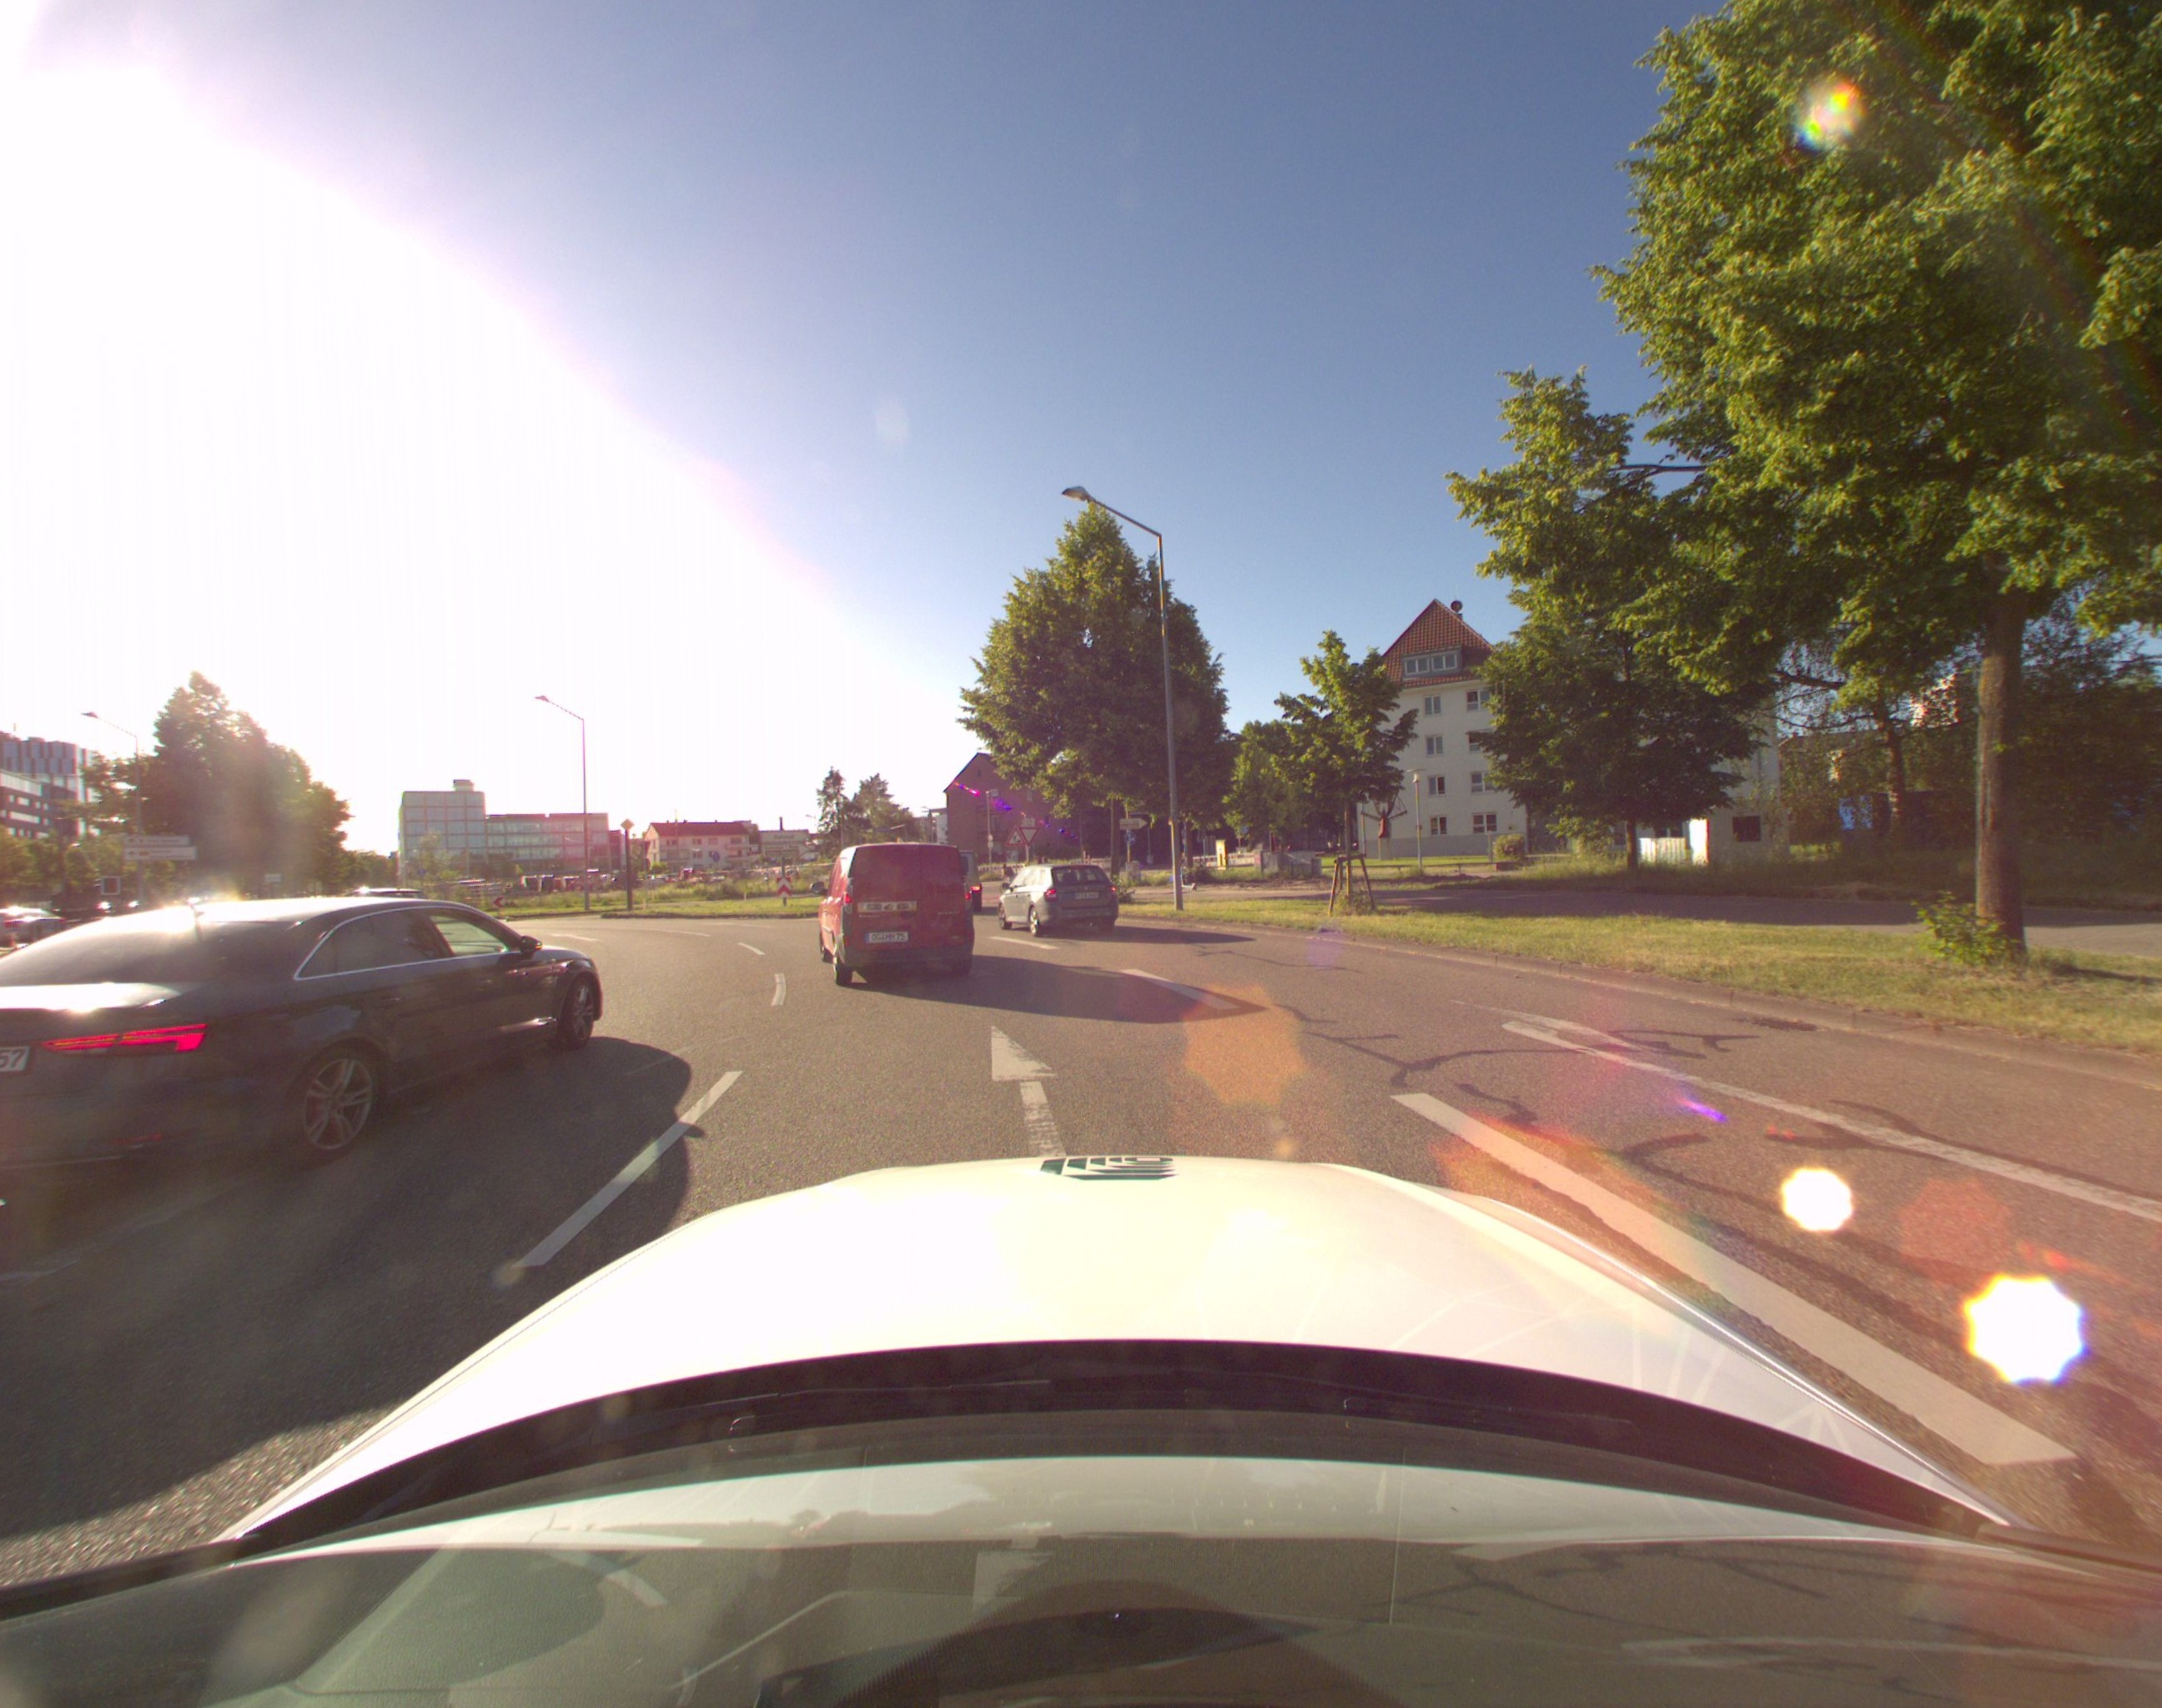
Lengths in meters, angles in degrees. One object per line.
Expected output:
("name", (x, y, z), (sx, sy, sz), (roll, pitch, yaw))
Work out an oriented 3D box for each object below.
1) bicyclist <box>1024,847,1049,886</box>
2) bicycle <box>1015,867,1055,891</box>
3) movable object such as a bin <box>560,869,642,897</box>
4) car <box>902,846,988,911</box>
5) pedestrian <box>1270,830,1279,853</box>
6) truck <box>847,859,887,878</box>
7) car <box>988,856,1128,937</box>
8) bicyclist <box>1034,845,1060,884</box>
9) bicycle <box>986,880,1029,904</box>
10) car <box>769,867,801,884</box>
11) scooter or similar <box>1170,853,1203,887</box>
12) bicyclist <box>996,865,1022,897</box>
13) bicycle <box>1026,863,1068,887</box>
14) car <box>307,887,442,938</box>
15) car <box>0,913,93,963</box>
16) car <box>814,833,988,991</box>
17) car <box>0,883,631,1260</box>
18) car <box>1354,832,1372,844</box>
("bicyclist", (-2.008, 0.579, 37.034), (0.802, 1.730, 0.659), (-4, -1, 35))
("bicycle", (-2.099, 1.136, 37.127), (1.800, 1.028, 0.664), (-2, -1, 36))
("movable object such as a bin", (-56.741, 3.350, 96.300), (7.971, 2.782, 2.910), (-3, 0, -38))
("car", (-4.675, 0.786, 27.380), (2.004, 1.897, 4.720), (-2, -1, -20))
("pedestrian", (16.823, -1.072, 70.780), (0.465, 2.013, 0.458), (-3, 0, 39))
("truck", (-24.332, 1.663, 92.448), (2.181, 2.014, 6.363), (0, -1, -37))
("car", (-0.625, 0.833, 17.370), (1.720, 1.436, 4.123), (-2, -1, -20))
("bicyclist", (-1.494, 0.445, 35.573), (0.887, 1.665, 0.664), (-2, -1, 36))
("bicycle", (-3.287, 1.698, 36.540), (1.801, 1.028, 0.664), (-3, -2, 28))
("car", (-37.160, 2.719, 102.236), (2.012, 2.014, 4.443), (0, -1, -45))
("scooter or similar", (4.018, 0.621, 31.034), (0.447, 1.248, 1.250), (0, -2, -38))
("bicyclist", (-3.209, 1.201, 36.483), (0.923, 1.385, 0.664), (-2, -1, 27))
("bicycle", (-1.498, 0.919, 35.605), (1.800, 1.028, 0.664), (-2, -1, 36))
("car", (-22.791, 1.852, 26.292), (3.763, 1.461, 1.819), (-1, 0, 24))
("car", (-40.110, 3.182, 30.422), (4.368, 1.575, 2.005), (-3, 1, 8))
("car", (-2.745, 0.696, 11.715), (1.810, 1.813, 3.781), (-2, 0, -22))
("car", (-4.955, 0.995, 5.469), (1.758, 1.380, 4.349), (-2, 0, -6))
("car", (48.172, -2.748, 139.052), (1.974, 1.871, 4.025), (-2, -1, 32))
